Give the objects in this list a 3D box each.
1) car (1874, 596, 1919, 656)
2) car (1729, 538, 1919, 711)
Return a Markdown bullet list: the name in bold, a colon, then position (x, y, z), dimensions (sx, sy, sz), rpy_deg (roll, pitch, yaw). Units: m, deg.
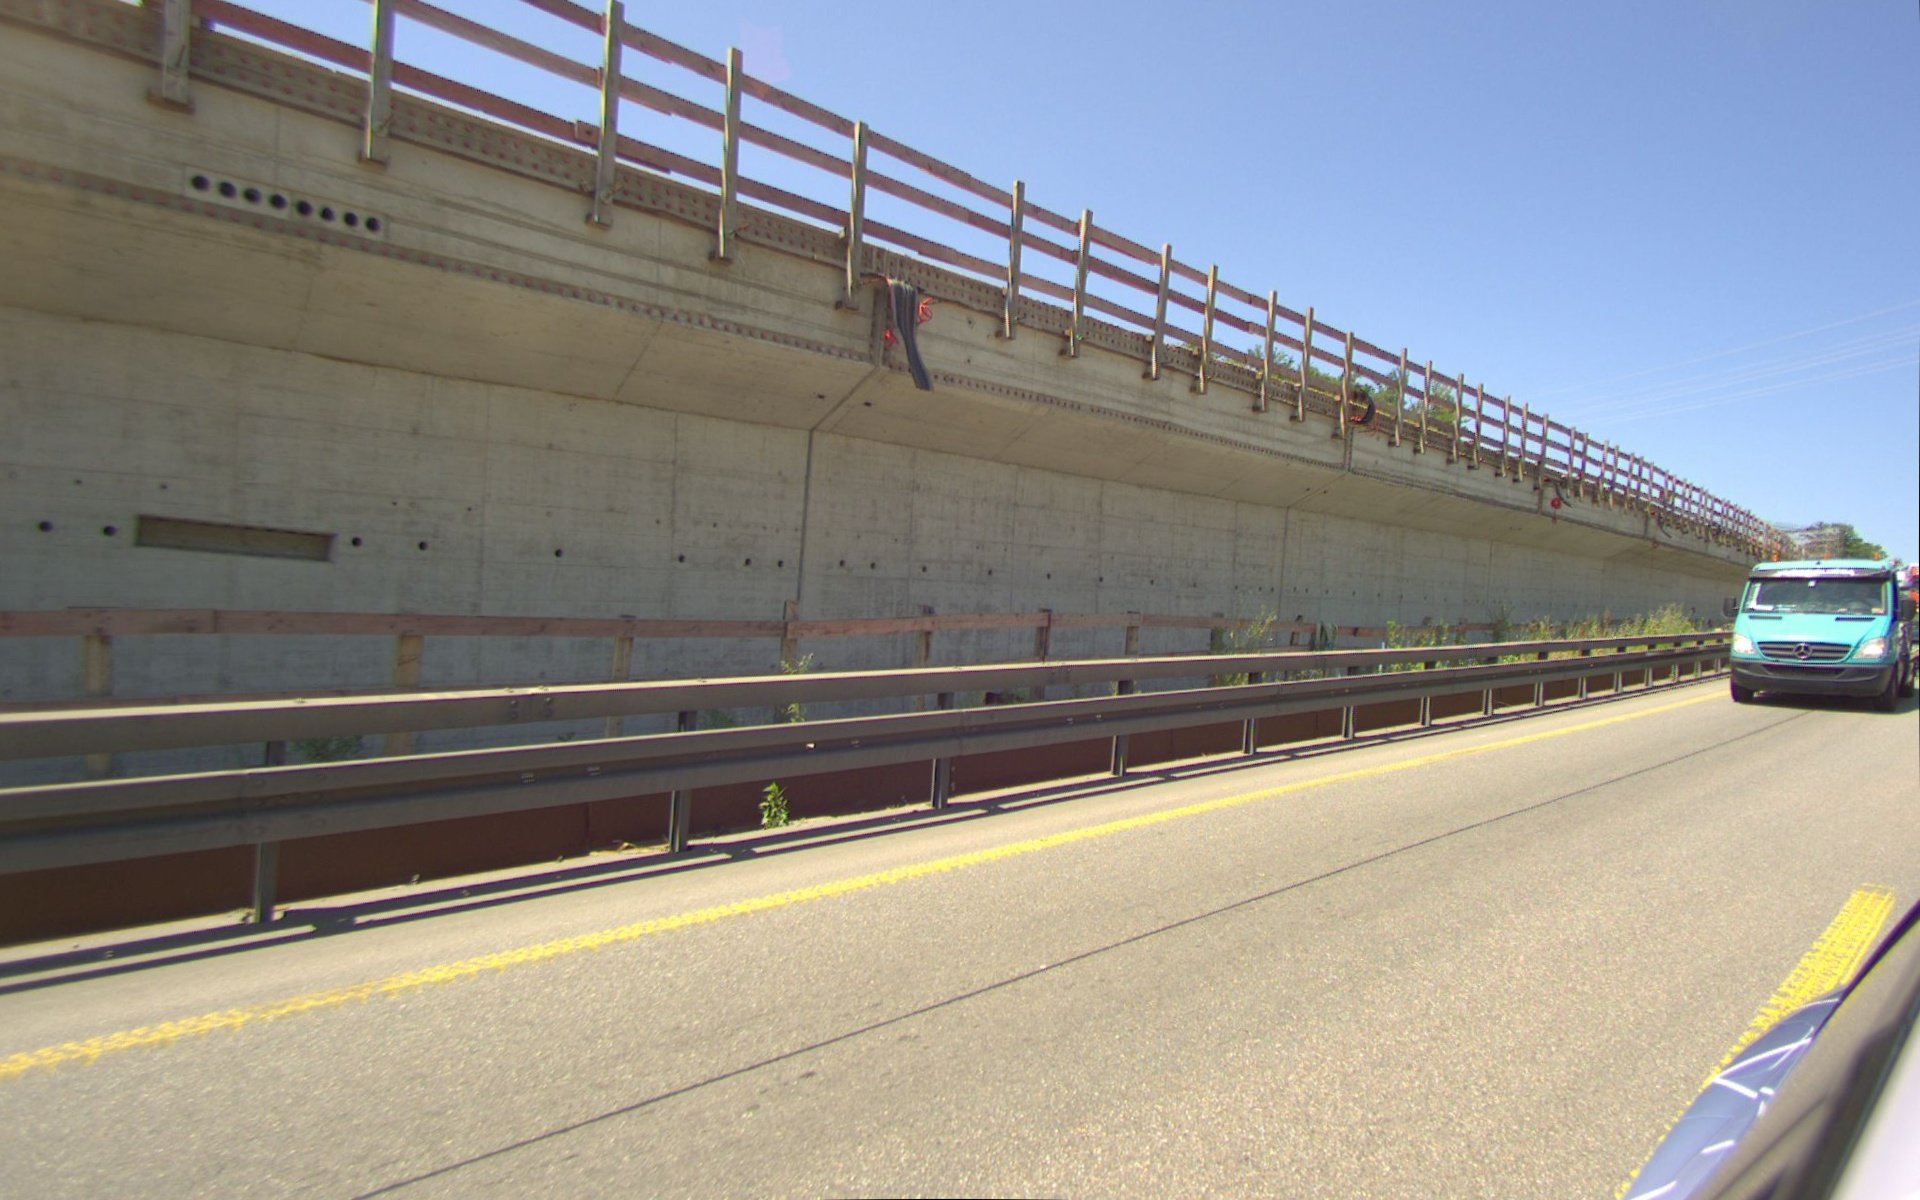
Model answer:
- **car**: position (28.280, 0.729, 29.683), dimensions (3.933, 1.681, 1.857), rpy_deg (0, 0, -43)
- **car**: position (15.130, 0.334, 17.213), dimensions (7.086, 2.411, 1.966), rpy_deg (0, 1, -42)
